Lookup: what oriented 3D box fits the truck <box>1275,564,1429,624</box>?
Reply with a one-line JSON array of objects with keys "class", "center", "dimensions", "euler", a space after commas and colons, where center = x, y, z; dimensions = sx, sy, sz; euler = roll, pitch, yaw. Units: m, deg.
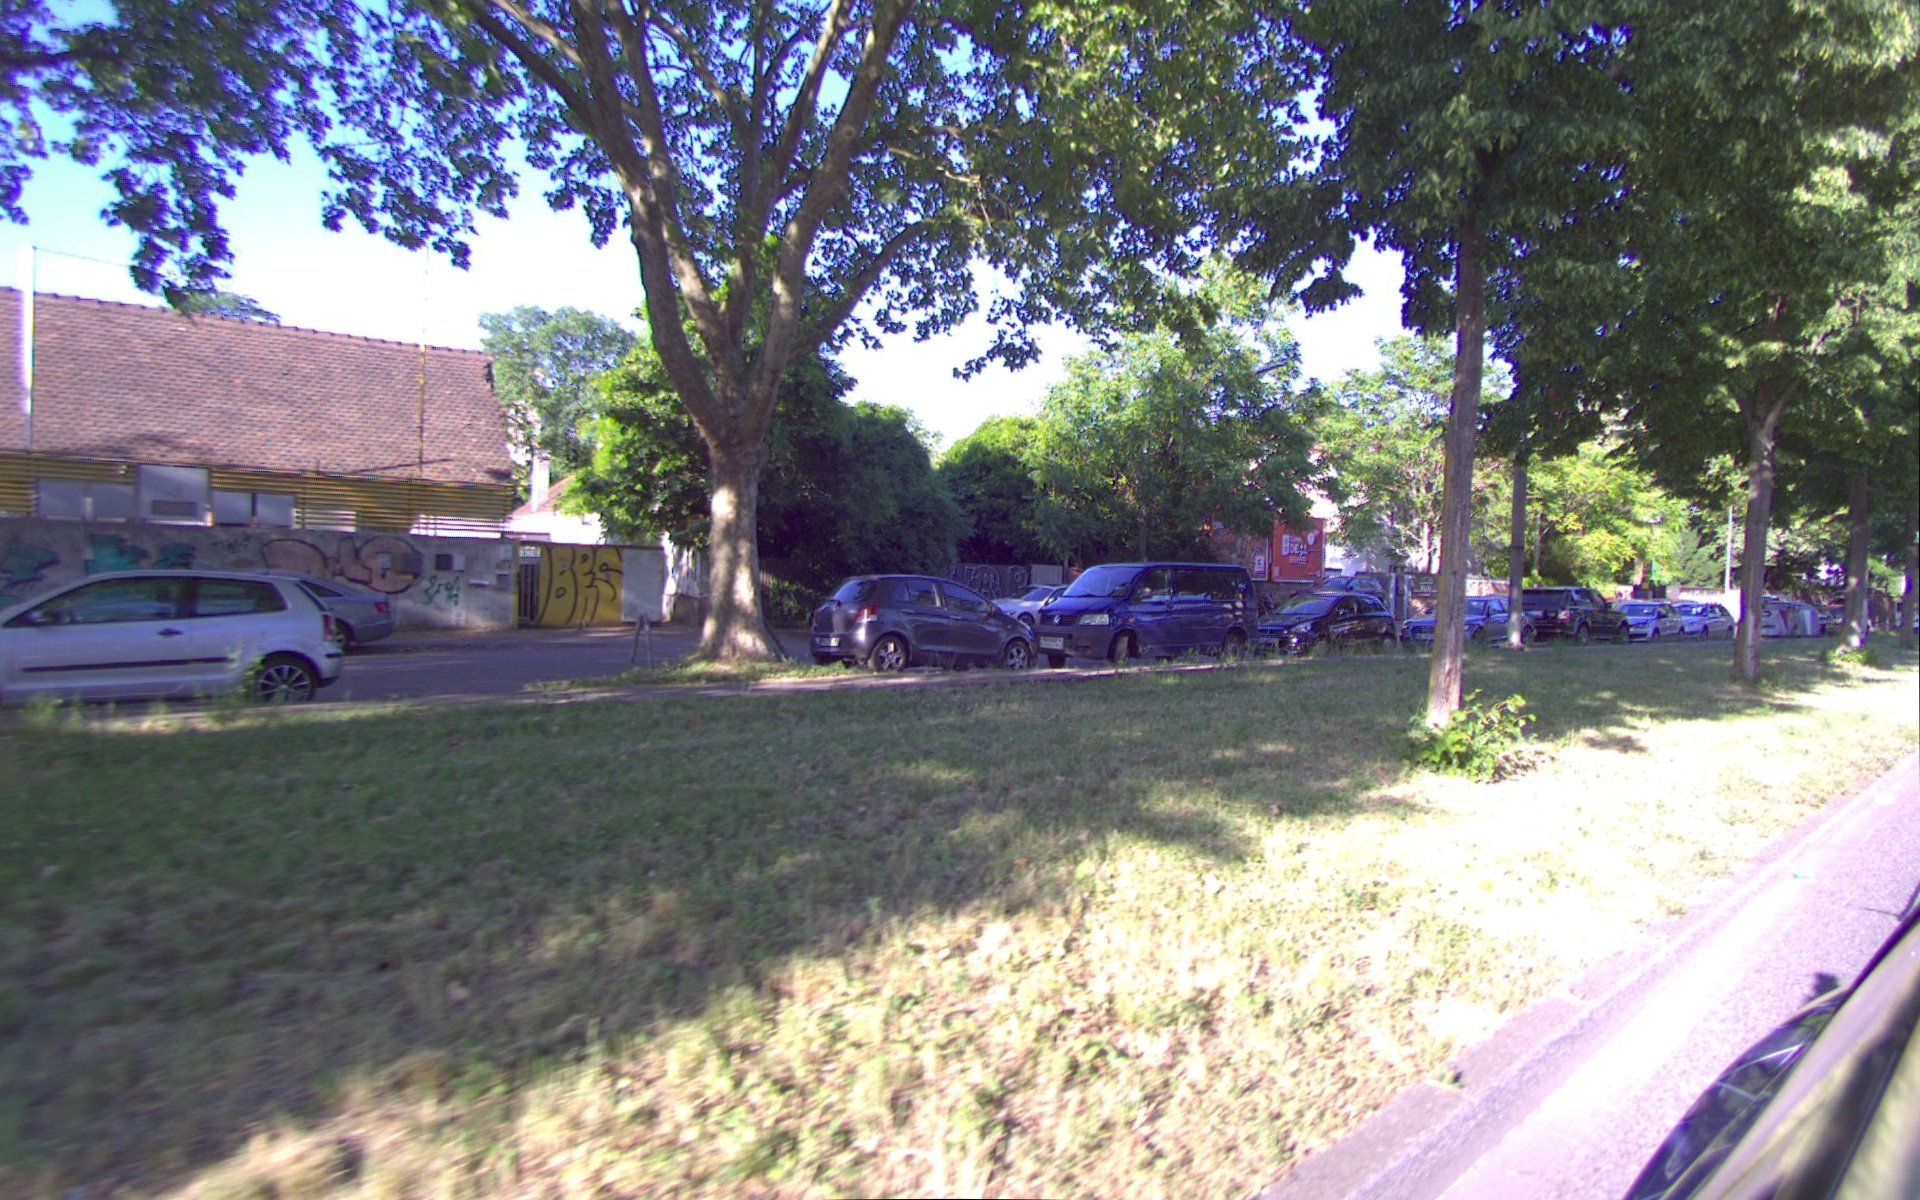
[{"class": "truck", "center": [14.983, -0.219, 38.497], "dimensions": [6.459, 2.101, 2.456], "euler": [0, 1, -38]}]

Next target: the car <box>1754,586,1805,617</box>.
[{"class": "car", "center": [56.592, 0.123, 69.844], "dimensions": [3.929, 2.039, 1.998], "euler": [0, 1, -40]}]

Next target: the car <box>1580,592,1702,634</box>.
[{"class": "car", "center": [21.960, 0.392, 32.610], "dimensions": [4.036, 1.225, 2.000], "euler": [0, 1, -36]}]

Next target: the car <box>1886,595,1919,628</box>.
[{"class": "car", "center": [49.215, 0.600, 51.922], "dimensions": [3.928, 1.605, 1.998], "euler": [0, 1, -40]}]

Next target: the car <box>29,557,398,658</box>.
[{"class": "car", "center": [-12.459, 0.104, 17.271], "dimensions": [4.820, 1.504, 1.900], "euler": [0, 1, -36]}]

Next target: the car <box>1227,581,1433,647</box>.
[{"class": "car", "center": [8.101, 0.273, 22.002], "dimensions": [4.567, 1.265, 2.000], "euler": [0, 1, -36]}]

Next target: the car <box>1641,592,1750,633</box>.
[{"class": "car", "center": [26.206, 0.422, 36.024], "dimensions": [4.463, 1.332, 1.999], "euler": [0, 1, -38]}]

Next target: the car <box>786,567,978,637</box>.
[{"class": "car", "center": [-1.922, 0.026, 25.864], "dimensions": [4.573, 1.547, 1.998], "euler": [0, 4, -41]}]

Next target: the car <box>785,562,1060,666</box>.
[{"class": "car", "center": [-0.517, 0.174, 15.632], "dimensions": [3.843, 1.397, 1.943], "euler": [0, 1, -39]}]

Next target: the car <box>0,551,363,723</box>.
[{"class": "car", "center": [-8.417, 0.302, 10.092], "dimensions": [3.978, 1.504, 1.898], "euler": [0, 1, -41]}]

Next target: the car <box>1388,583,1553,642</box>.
[{"class": "car", "center": [13.339, 0.303, 26.330], "dimensions": [4.777, 1.380, 1.999], "euler": [0, 1, -38]}]

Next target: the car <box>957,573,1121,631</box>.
[{"class": "car", "center": [2.327, 0.037, 29.244], "dimensions": [4.568, 1.548, 1.999], "euler": [0, 1, -37]}]

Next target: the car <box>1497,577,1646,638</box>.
[{"class": "car", "center": [17.736, 0.205, 29.298], "dimensions": [4.565, 1.616, 2.000], "euler": [1, 1, -35]}]

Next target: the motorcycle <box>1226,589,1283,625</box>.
[{"class": "motorcycle", "center": [10.076, 0.219, 34.639], "dimensions": [1.727, 1.163, 0.727], "euler": [2, 1, 30]}]

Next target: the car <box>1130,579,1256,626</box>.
[{"class": "car", "center": [7.621, 0.065, 32.946], "dimensions": [4.095, 1.420, 1.796], "euler": [0, 1, -37]}]

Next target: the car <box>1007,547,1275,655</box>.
[{"class": "car", "center": [3.432, 0.004, 18.720], "dimensions": [4.927, 1.763, 2.039], "euler": [0, 1, -37]}]
